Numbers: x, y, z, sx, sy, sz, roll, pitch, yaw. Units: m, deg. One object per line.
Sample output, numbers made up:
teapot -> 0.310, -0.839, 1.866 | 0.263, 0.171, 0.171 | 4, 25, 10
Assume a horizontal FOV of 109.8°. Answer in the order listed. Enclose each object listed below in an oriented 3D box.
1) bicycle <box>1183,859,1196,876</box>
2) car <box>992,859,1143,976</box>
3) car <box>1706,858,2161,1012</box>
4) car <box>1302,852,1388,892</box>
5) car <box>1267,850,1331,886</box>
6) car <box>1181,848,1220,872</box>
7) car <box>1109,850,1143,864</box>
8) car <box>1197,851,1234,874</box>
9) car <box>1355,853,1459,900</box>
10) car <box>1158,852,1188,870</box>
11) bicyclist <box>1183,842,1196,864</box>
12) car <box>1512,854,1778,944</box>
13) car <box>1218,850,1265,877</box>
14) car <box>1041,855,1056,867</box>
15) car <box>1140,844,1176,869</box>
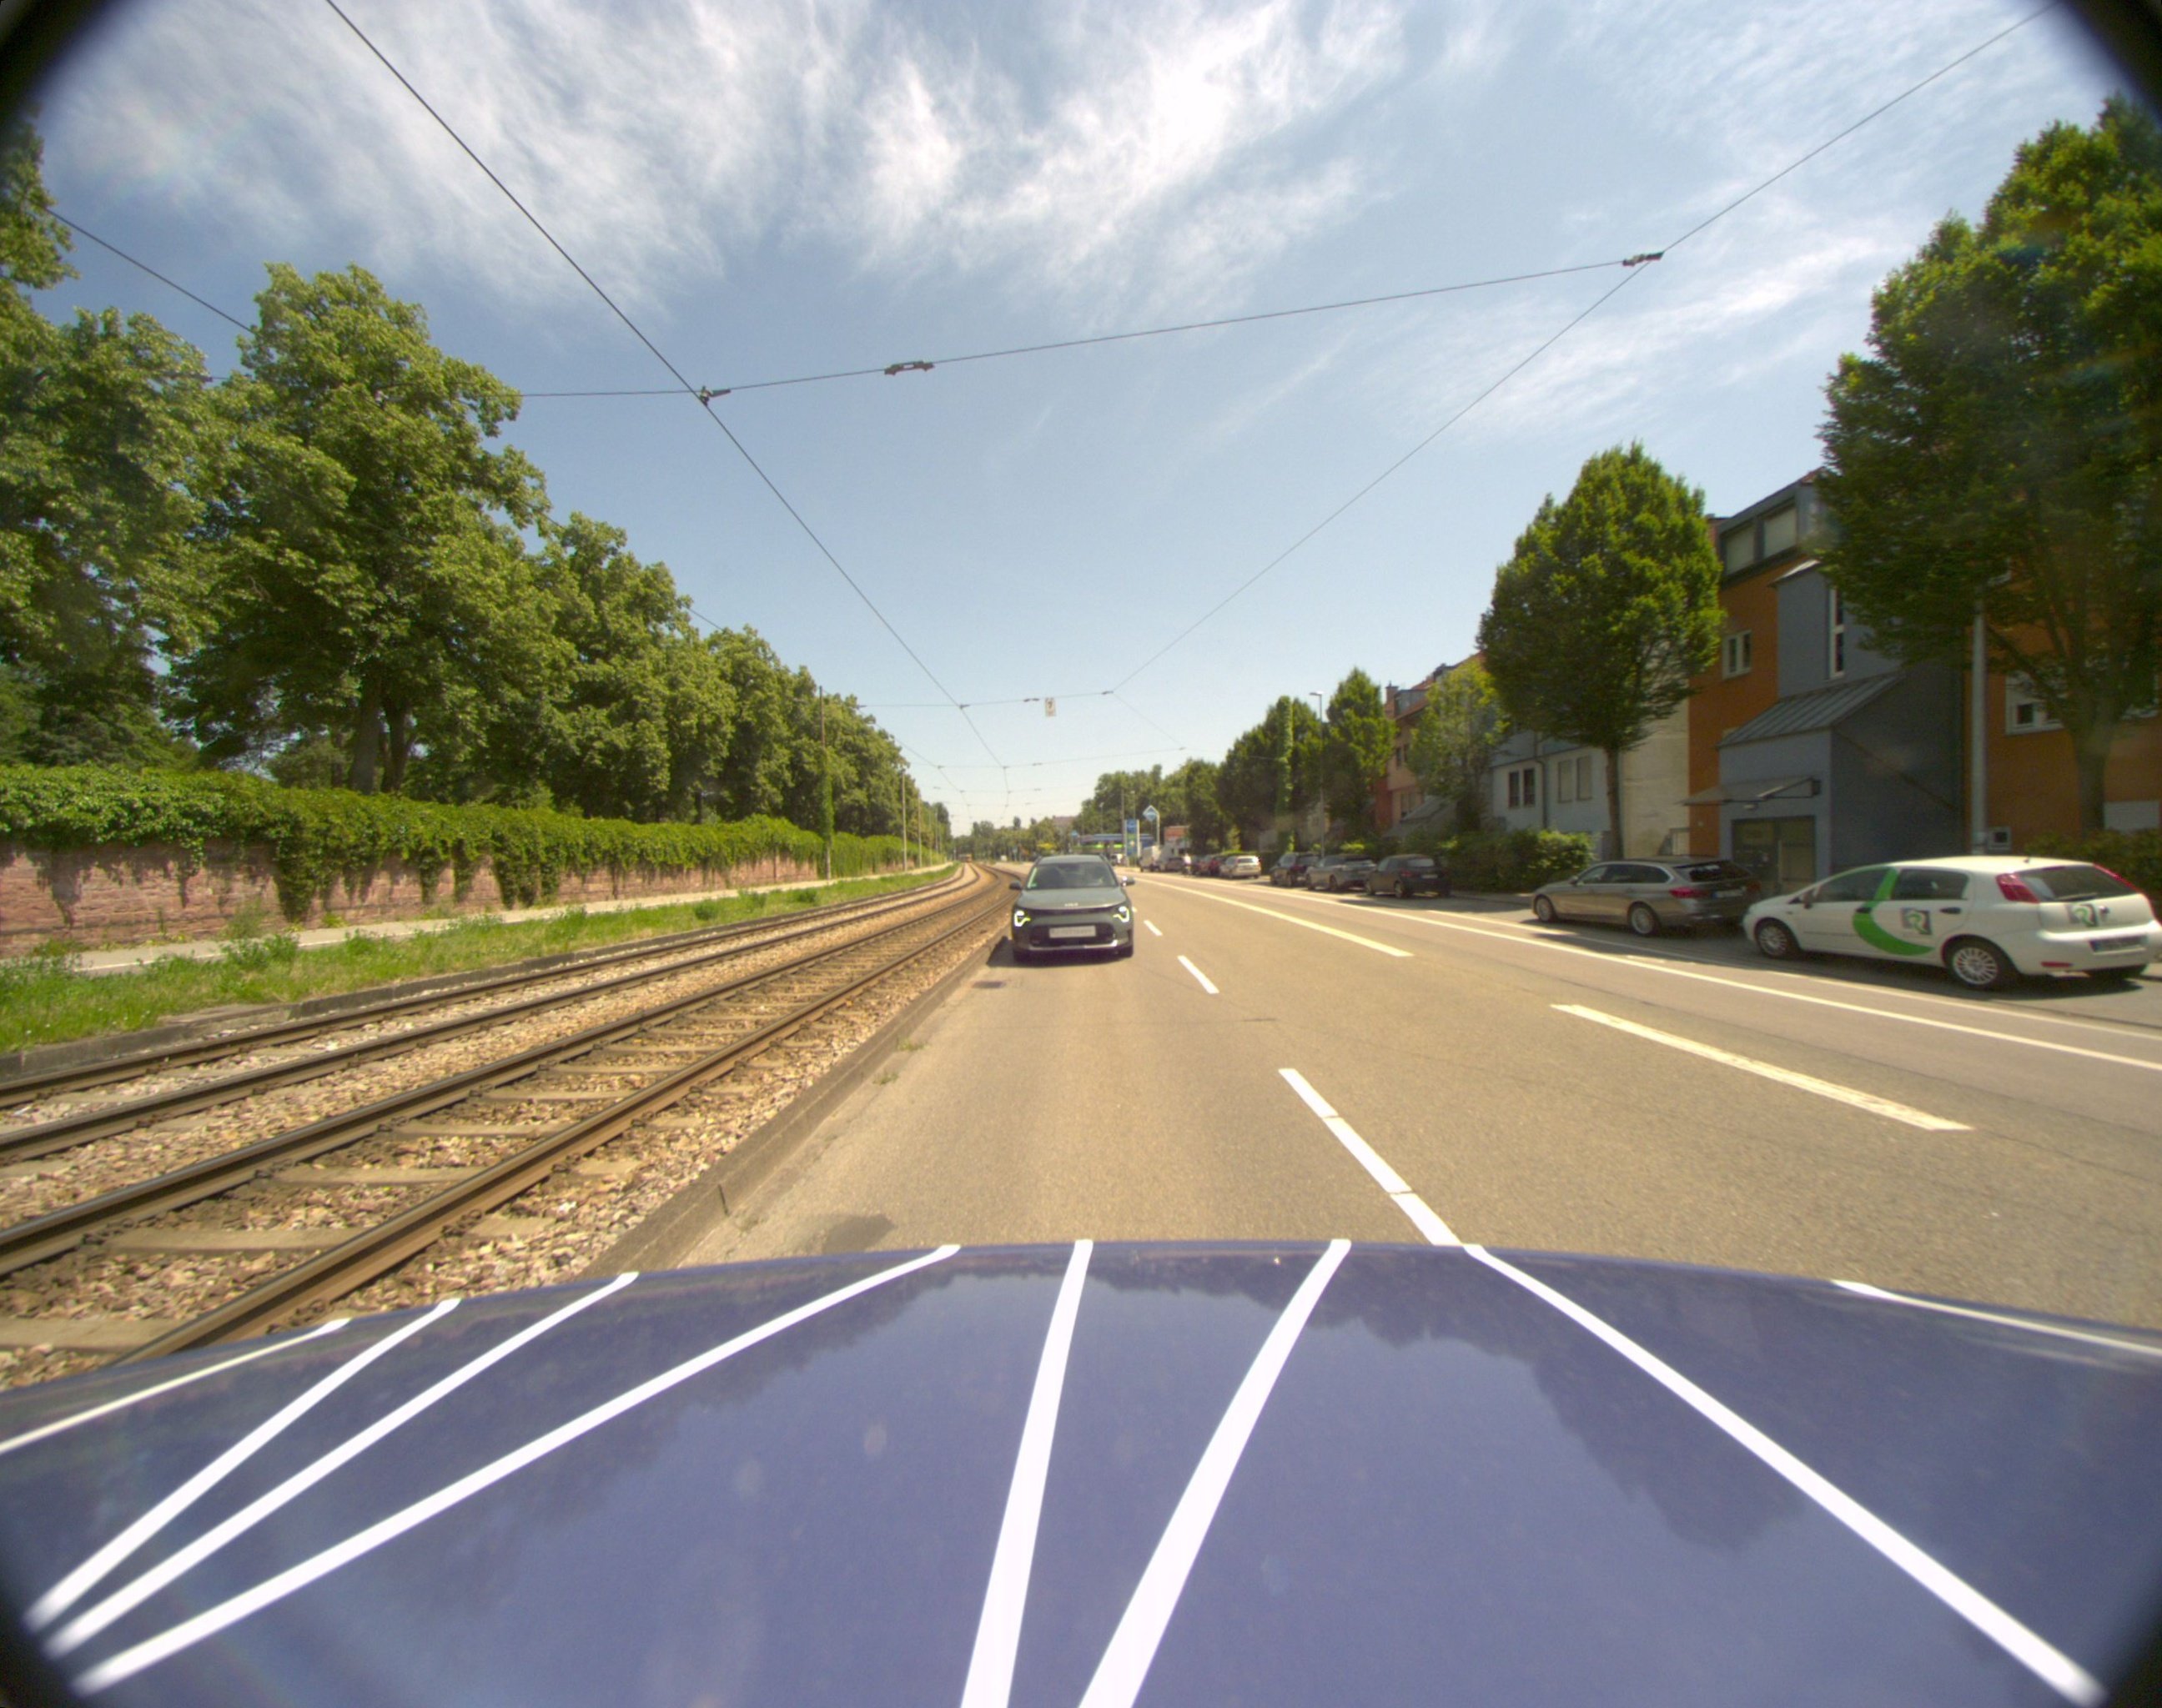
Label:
bicycle -> 7.523, 0.929, 52.807 | 0.641, 1.089, 1.638 | 1, 1, 1
car -> -0.075, 0.896, 12.546 | 2.062, 1.534, 4.001 | -1, 0, 3
car -> 11.148, 0.869, 10.223 | 1.750, 1.434, 4.420 | -6, 0, 0
car -> 10.998, 0.703, 32.022 | 1.830, 1.487, 4.756 | -3, 0, -1
car -> 10.753, 0.657, 37.843 | 1.772, 1.579, 4.147 | -3, 0, -3
car -> 9.388, 0.423, 60.266 | 1.999, 1.783, 4.556 | -1, 0, -5
car -> 7.276, 0.479, 123.473 | 5.383, 2.085, 1.995 | -4, 2, -37
car -> 9.704, 0.610, 55.058 | 1.604, 1.584, 3.680 | -3, 0, -6
car -> 11.315, 0.714, 26.731 | 1.754, 1.424, 4.257 | -3, 0, 0
car -> 8.338, 0.636, 69.283 | 1.870, 1.528, 4.142 | -3, 0, -4
bicyclist -> 7.530, -0.096, 52.759 | 0.737, 1.496, 0.737 | 1, 2, 1
car -> 11.250, 0.796, 15.694 | 1.708, 1.421, 4.750 | -6, 0, -2
car -> 10.300, 0.597, 49.165 | 1.845, 1.573, 4.495 | -3, 0, -2
car -> -4.190, 0.889, 98.240 | 1.695, 1.403, 3.513 | -2, 0, -6
car -> 7.572, 0.233, 75.203 | 2.285, 2.294, 5.226 | -3, 0, -8
